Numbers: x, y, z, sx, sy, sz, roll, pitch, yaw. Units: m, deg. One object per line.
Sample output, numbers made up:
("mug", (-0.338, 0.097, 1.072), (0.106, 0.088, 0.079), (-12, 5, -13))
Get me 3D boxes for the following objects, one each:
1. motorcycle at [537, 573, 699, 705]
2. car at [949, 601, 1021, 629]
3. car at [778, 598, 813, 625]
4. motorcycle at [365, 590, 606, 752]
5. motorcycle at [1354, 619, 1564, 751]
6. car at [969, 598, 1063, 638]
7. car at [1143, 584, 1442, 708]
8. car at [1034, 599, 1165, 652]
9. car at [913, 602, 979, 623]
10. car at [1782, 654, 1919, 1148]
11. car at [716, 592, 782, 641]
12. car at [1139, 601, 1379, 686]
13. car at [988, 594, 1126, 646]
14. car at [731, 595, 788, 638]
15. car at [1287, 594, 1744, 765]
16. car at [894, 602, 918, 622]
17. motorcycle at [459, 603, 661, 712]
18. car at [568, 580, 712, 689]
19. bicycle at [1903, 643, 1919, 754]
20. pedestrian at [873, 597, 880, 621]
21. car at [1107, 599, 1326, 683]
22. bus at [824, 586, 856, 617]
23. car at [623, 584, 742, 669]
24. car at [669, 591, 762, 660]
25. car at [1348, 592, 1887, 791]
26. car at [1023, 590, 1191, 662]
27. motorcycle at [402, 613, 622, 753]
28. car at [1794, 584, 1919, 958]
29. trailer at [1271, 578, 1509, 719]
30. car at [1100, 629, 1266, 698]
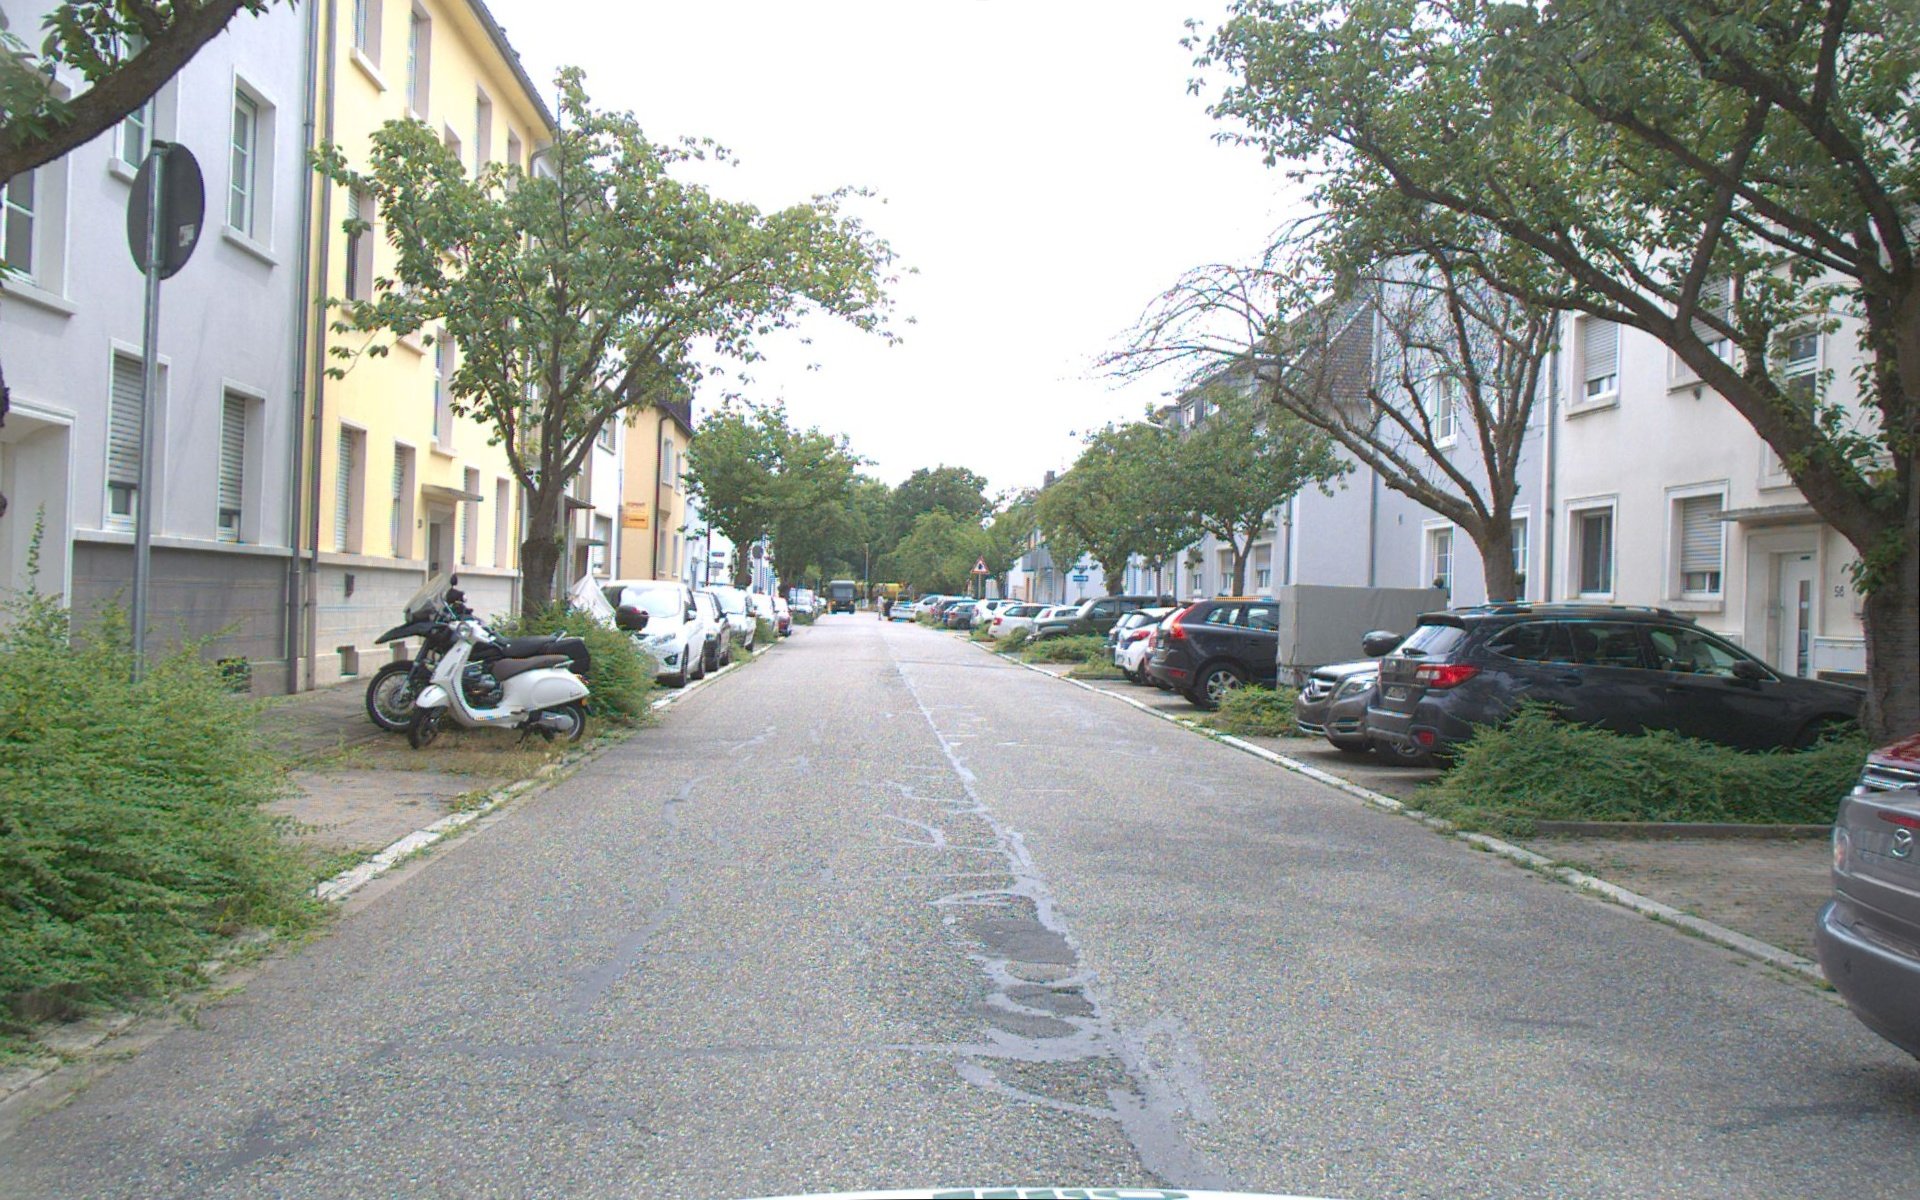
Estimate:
("motorcycle", (-4.719, 0.500, 22.684), (2.431, 1.705, 0.932), (1, 0, 43))
("car", (1.274, 0.787, 86.176), (3.673, 1.389, 1.772), (-1, 0, -3))
("car", (-9.954, 0.714, 100.259), (1.727, 1.581, 3.730), (-1, 0, 0))
("motorcycle", (-4.647, 0.662, 16.288), (2.208, 1.507, 0.591), (0, -1, -31))
("motorcycle", (5.699, 0.962, 18.932), (2.182, 1.434, 0.714), (1, 0, -6))
("car", (2.356, 0.752, 70.499), (3.845, 1.661, 1.867), (-1, 0, -3))
("car", (4.987, 0.672, 25.206), (4.129, 1.766, 1.903), (-1, 0, -2))
("car", (4.060, 0.732, 48.442), (3.557, 1.480, 1.770), (-1, 0, -8))
("car", (-1.101, 0.927, 126.409), (4.878, 1.545, 1.766), (-1, 0, -6))
("car", (4.878, 0.909, 5.032), (3.908, 1.480, 1.765), (-1, 0, -4))
("car", (-7.167, 0.560, 56.563), (1.737, 1.415, 4.272), (7, -1, -3))
("car", (5.342, 0.764, 29.830), (3.911, 1.435, 1.765), (-1, 0, -7))
("car", (3.288, 0.685, 56.628), (4.522, 1.693, 1.891), (-1, 0, -3))
("car", (-7.456, 0.602, 61.937), (1.840, 1.512, 4.509), (-1, 0, -4))
("car", (5.726, 0.782, 17.339), (4.133, 1.626, 1.901), (-1, 0, -6))
("car", (-3.879, 0.825, 117.919), (1.653, 1.378, 3.824), (-1, 0, -2))
("motorcycle", (-5.063, 0.721, 21.025), (2.400, 1.334, 0.643), (-1, -1, -3))
("car", (-5.064, 0.522, 26.629), (1.722, 1.583, 4.252), (1, 0, -4))
("bicycle", (9.818, 0.985, 16.031), (0.493, 1.100, 1.472), (-1, 0, 0))
("pedestrian", (-5.902, 0.646, 116.991), (0.511, 1.734, 0.444), (-1, -1, 0))
("car", (4.992, 0.785, 32.475), (3.911, 1.557, 1.765), (-1, 0, -7))
("bus", (-11.383, 0.166, 157.395), (2.945, 2.809, 8.916), (-1, 0, -4))
("car", (-5.449, 0.528, 32.981), (1.755, 1.518, 4.808), (2, -1, -3))
("car", (-6.051, 0.617, 41.291), (1.880, 1.609, 4.379), (-1, 0, -3))
("car", (5.848, 0.768, 15.011), (4.133, 1.626, 1.901), (-1, 0, -6))
("car", (4.005, 0.695, 45.557), (4.433, 1.890, 1.792), (-1, 0, -1))
("motorcycle", (-4.141, 0.738, 15.332), (1.886, 1.212, 0.591), (0, -1, -31))
("car", (6.437, 0.760, 7.726), (4.129, 1.707, 1.903), (-1, 0, -2))
("trailer", (5.898, 0.650, 22.881), (2.900, 1.863, 1.400), (-1, -1, 0))
("car", (5.058, 1.435, 37.806), (3.473, 1.478, 1.807), (-1, 0, -5))
